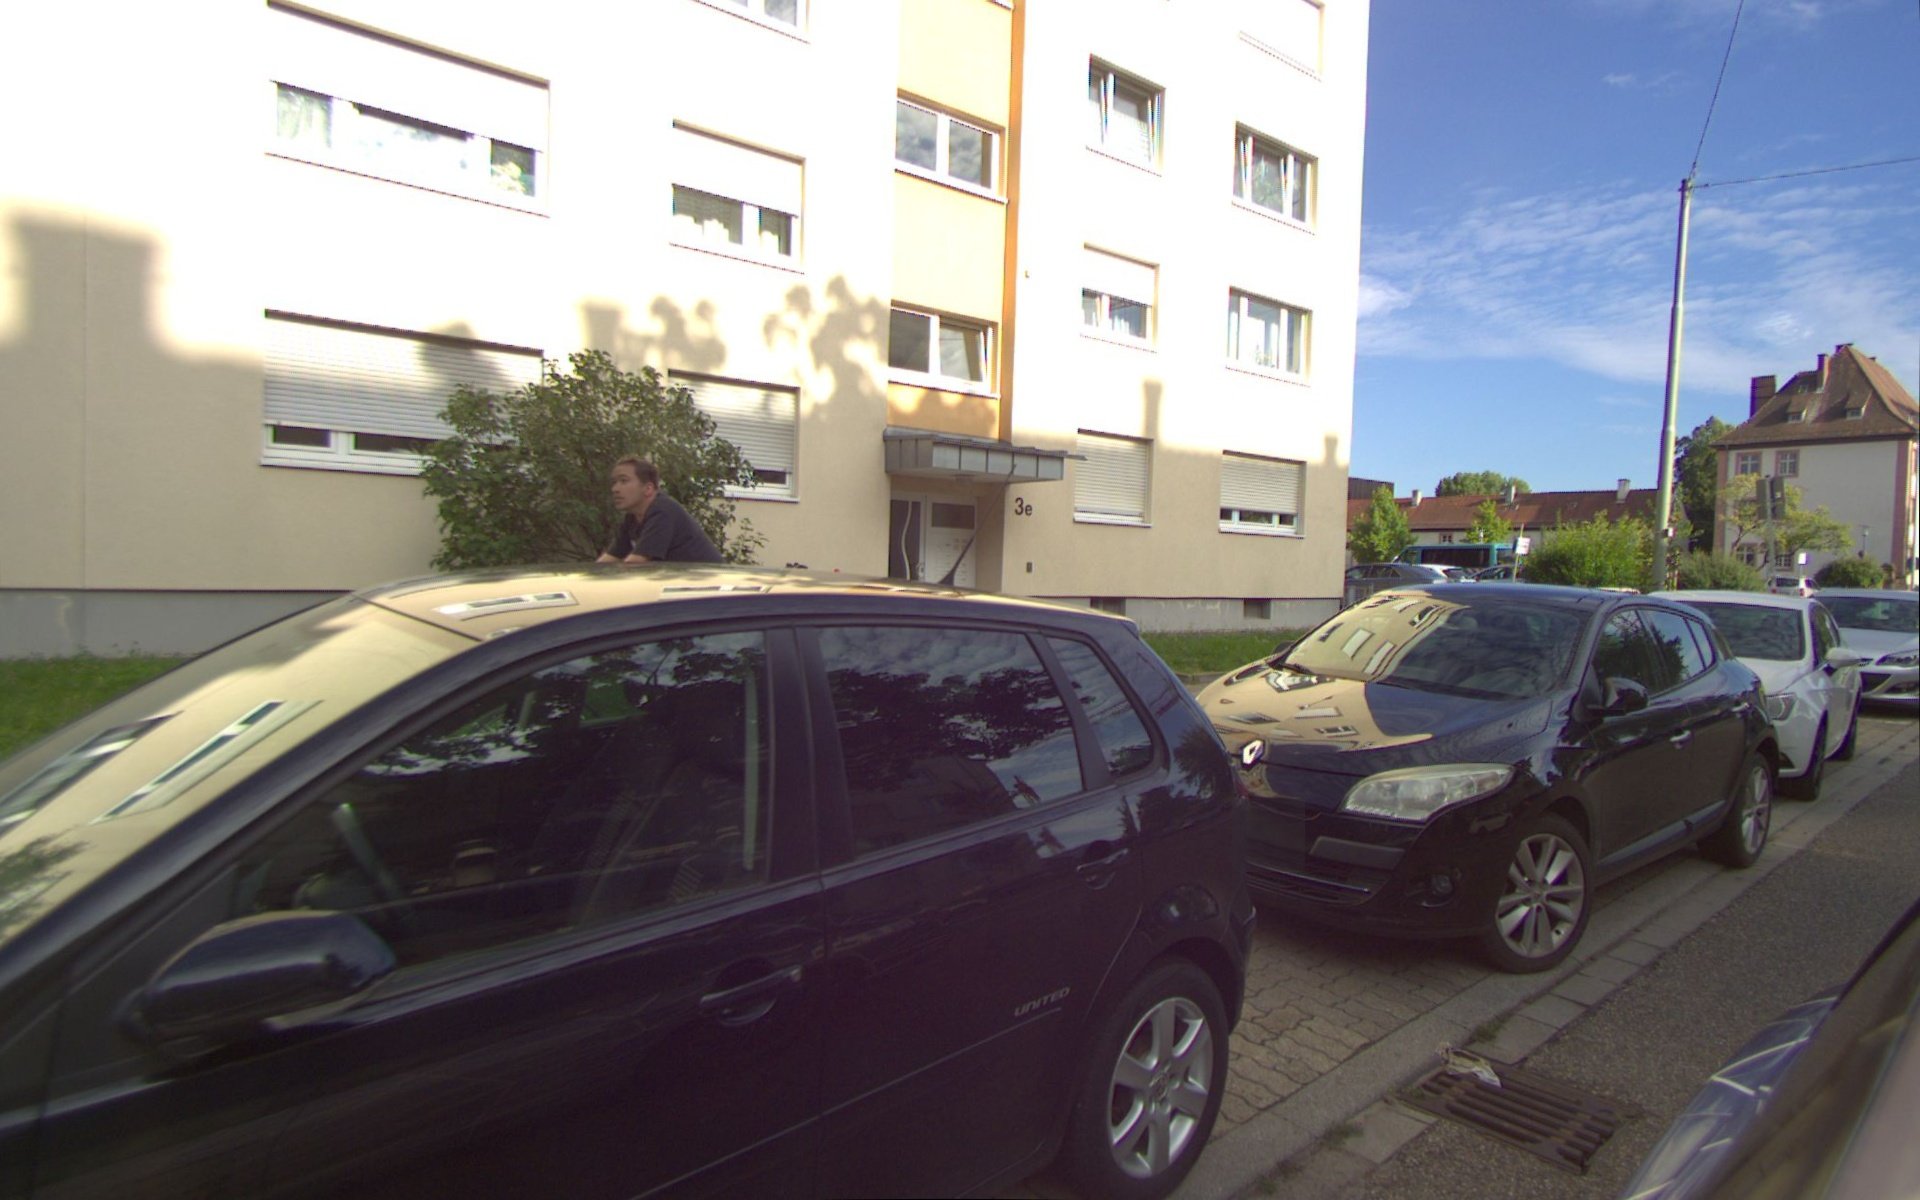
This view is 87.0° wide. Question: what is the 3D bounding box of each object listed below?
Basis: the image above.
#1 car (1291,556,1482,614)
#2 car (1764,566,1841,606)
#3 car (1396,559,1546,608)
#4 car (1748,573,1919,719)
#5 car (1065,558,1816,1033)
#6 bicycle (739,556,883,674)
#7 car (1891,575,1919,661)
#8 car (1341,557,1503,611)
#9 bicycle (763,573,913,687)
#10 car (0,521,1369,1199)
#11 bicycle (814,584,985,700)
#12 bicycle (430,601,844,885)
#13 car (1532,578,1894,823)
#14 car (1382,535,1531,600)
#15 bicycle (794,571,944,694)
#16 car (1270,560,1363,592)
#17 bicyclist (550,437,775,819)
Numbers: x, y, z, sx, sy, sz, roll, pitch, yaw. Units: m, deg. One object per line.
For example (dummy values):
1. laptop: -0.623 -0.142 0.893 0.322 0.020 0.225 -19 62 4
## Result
1. car: 11.872 -0.472 28.468 1.835 1.500 4.683 0 2 -34
2. car: 39.512 -0.650 47.440 4.015 1.740 1.890 1 2 -38
3. car: 16.931 -0.574 33.695 1.833 1.500 4.096 0 2 -30
4. car: 11.958 0.489 13.074 4.251 1.542 1.769 0 4 -38
5. car: 2.634 0.592 5.107 4.129 1.453 1.689 0 3 -38
6. bicycle: -1.665 0.126 11.437 1.563 1.230 0.523 -2 5 -41
7. car: 20.236 0.387 20.346 3.900 1.621 1.678 0 5 -41
8. car: 13.821 -0.520 30.511 1.833 1.500 4.096 0 2 -30
9. bicycle: -1.282 0.282 10.823 1.563 1.087 0.523 -2 5 -41
10. car: -0.880 0.634 2.177 3.806 1.519 1.687 0 3 -41
11. bicycle: -0.571 0.373 9.992 1.663 1.010 0.597 -2 3 -40
12. bicycle: -1.518 0.596 5.014 1.896 1.149 0.524 0 2 -41
13. car: 6.413 0.611 8.432 4.136 1.485 1.686 0 3 -43
14. car: 18.092 -1.196 37.029 2.320 2.219 4.286 0 2 -32
15. bicycle: -0.913 0.295 10.404 1.563 1.150 0.446 -2 5 -41
16. car: 17.740 -1.216 50.554 1.834 1.522 4.094 0 2 -32
17. bicyclist: -1.473 0.115 5.029 0.877 1.698 0.624 0 2 -41
